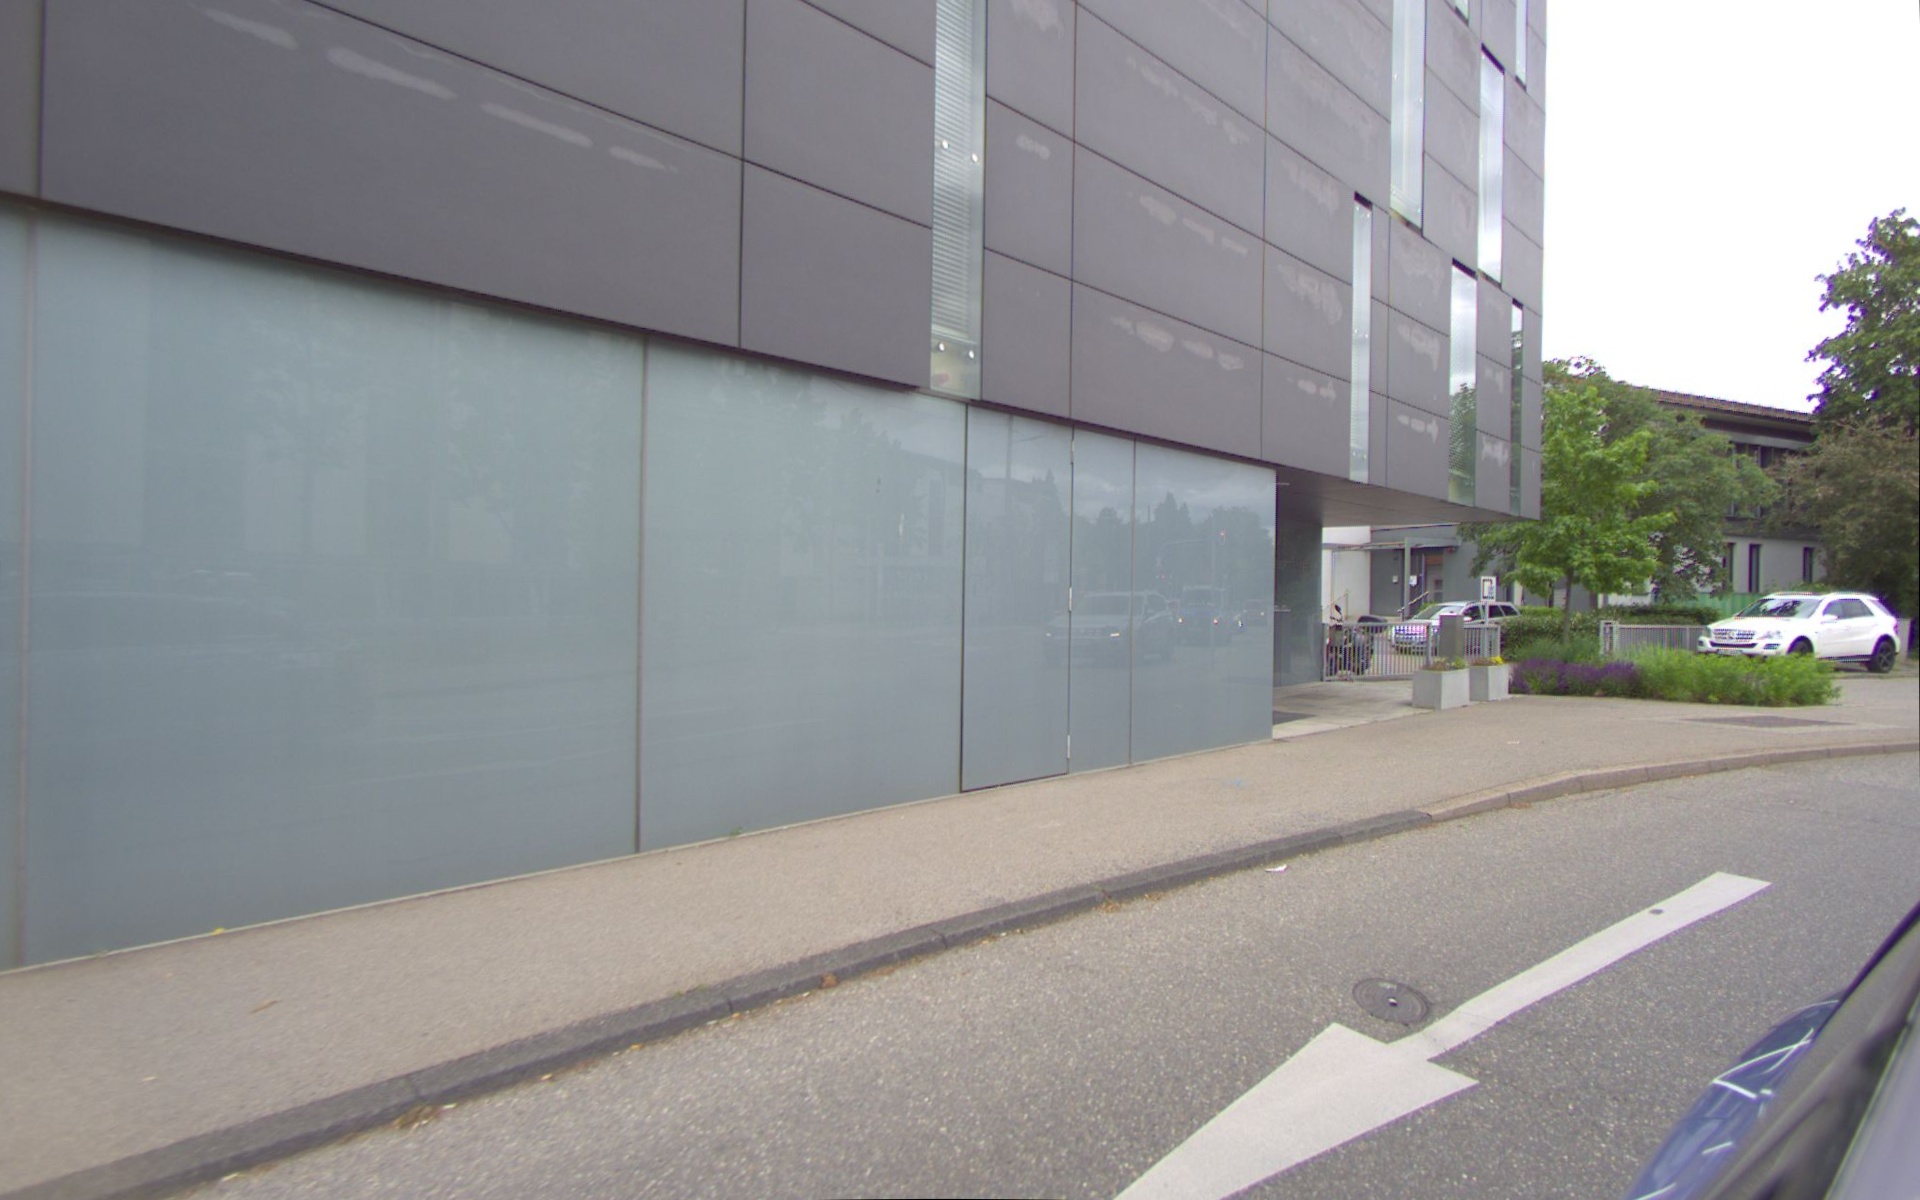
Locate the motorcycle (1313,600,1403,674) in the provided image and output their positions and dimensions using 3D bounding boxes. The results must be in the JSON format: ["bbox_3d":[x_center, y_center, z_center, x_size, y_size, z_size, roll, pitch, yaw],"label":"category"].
[{"bbox_3d":[7.940,0.723,20.134,2.085,1.411,0.670,2,-1,-38],"label":"motorcycle"}]

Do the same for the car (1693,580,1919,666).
[{"bbox_3d":[19.076,0.485,22.753,4.622,1.780,1.862,0,0,-19],"label":"car"}]

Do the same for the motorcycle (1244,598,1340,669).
[{"bbox_3d":[7.004,0.671,21.304,2.418,1.410,0.670,0,0,-38],"label":"motorcycle"}]

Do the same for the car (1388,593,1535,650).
[{"bbox_3d":[14.530,0.577,29.280,4.131,1.502,1.624,-1,1,-26],"label":"car"}]
